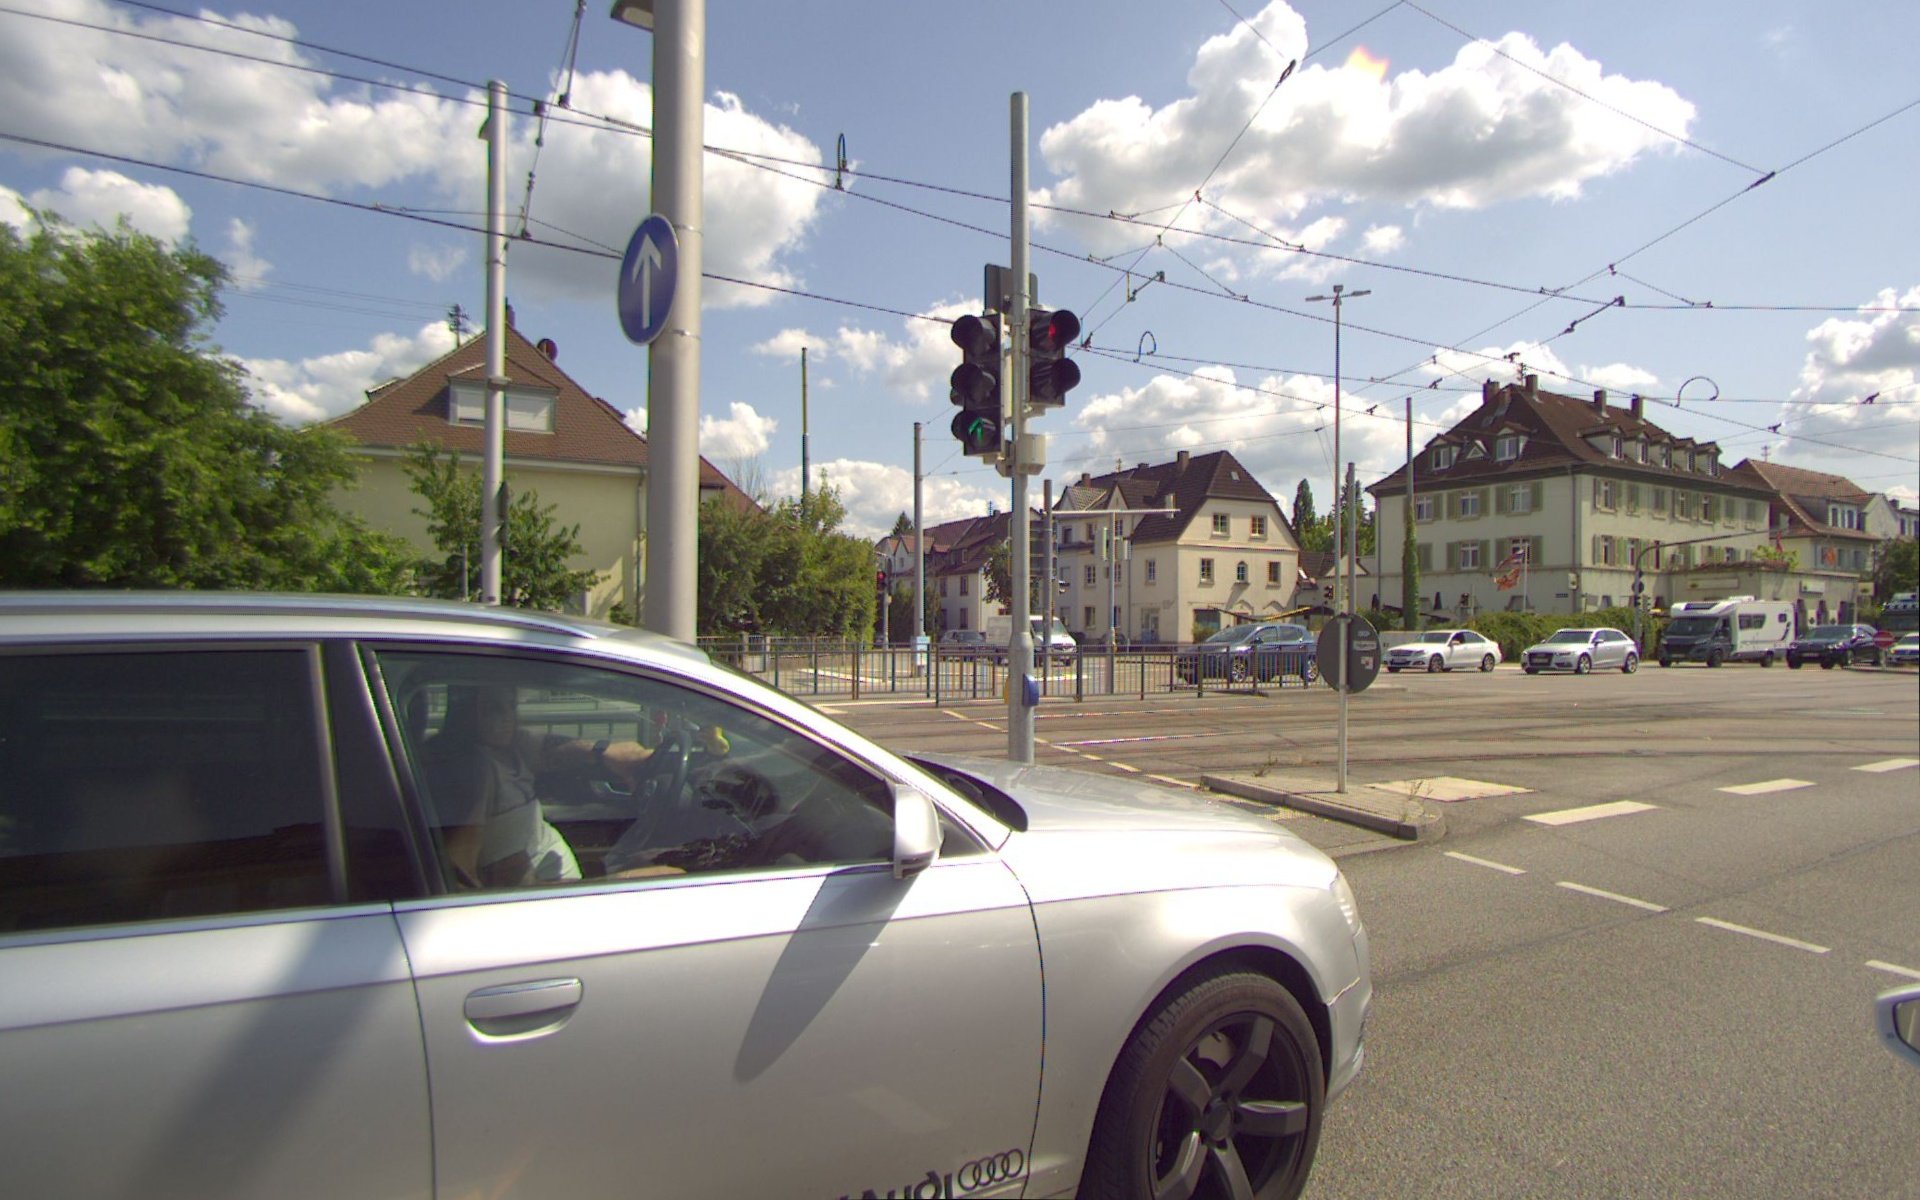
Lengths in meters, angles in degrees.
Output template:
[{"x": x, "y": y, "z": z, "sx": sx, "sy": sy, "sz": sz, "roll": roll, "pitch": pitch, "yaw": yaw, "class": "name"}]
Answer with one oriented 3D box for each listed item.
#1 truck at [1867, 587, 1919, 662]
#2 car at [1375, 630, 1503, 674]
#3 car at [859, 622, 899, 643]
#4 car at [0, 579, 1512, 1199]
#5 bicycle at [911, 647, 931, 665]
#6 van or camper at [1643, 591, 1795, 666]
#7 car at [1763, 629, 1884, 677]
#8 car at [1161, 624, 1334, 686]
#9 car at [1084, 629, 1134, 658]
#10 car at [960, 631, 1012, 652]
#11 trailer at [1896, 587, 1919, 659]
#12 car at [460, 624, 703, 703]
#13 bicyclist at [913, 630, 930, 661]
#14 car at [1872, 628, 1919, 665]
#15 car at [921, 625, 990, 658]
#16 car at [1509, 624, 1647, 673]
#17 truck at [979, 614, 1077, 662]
[{"x": 51.528, "y": 1.315, "z": 53.699, "sx": 5.595, "sy": 3.871, "sz": 2.590, "roll": 0, "pitch": -3, "yaw": -28, "class": "truck"}, {"x": 16.160, "y": 1.754, "z": 33.863, "sx": 4.291, "sy": 1.369, "sz": 1.678, "roll": 2, "pitch": 0, "yaw": -28, "class": "car"}, {"x": -7.096, "y": 2.836, "z": 87.250, "sx": 1.976, "sy": 1.617, "sz": 3.969, "roll": 2, "pitch": 0, "yaw": -29, "class": "car"}, {"x": -0.968, "y": 0.728, "z": 2.316, "sx": 4.667, "sy": 1.491, "sz": 1.786, "roll": 1, "pitch": 0, "yaw": -30, "class": "car"}, {"x": -1.999, "y": 2.885, "z": 51.433, "sx": 0.595, "sy": 0.846, "sz": 1.074, "roll": 2, "pitch": 0, "yaw": -28, "class": "bicycle"}, {"x": 32.549, "y": 1.227, "z": 42.996, "sx": 7.660, "sy": 2.968, "sz": 2.314, "roll": 1, "pitch": -1, "yaw": -29, "class": "van or camper"}, {"x": 34.126, "y": 2.059, "z": 39.675, "sx": 4.817, "sy": 1.799, "sz": 1.986, "roll": 1, "pitch": -3, "yaw": -28, "class": "car"}, {"x": 7.084, "y": 1.340, "z": 24.675, "sx": 4.129, "sy": 1.369, "sz": 1.676, "roll": 2, "pitch": 0, "yaw": -30, "class": "car"}, {"x": 9.750, "y": 2.836, "z": 65.951, "sx": 1.900, "sy": 1.690, "sz": 4.279, "roll": 2, "pitch": 0, "yaw": -11, "class": "car"}, {"x": 2.208, "y": 3.454, "z": 84.029, "sx": 3.945, "sy": 1.617, "sz": 1.829, "roll": 2, "pitch": 0, "yaw": -24, "class": "car"}, {"x": 57.758, "y": 1.274, "z": 57.111, "sx": 12.676, "sy": 3.871, "sz": 2.589, "roll": 1, "pitch": -3, "yaw": -29, "class": "trailer"}, {"x": -7.510, "y": 1.231, "z": 20.046, "sx": 4.296, "sy": 1.369, "sz": 1.676, "roll": 2, "pitch": 0, "yaw": -31, "class": "car"}, {"x": -1.990, "y": 2.315, "z": 51.452, "sx": 0.595, "sy": 1.529, "sz": 0.641, "roll": 2, "pitch": 0, "yaw": -28, "class": "bicyclist"}, {"x": 43.504, "y": 2.122, "z": 45.529, "sx": 4.129, "sy": 1.572, "sz": 1.985, "roll": 2, "pitch": -5, "yaw": -30, "class": "car"}, {"x": -0.277, "y": 2.184, "z": 53.402, "sx": 1.975, "sy": 1.573, "sz": 4.148, "roll": 3, "pitch": -1, "yaw": -27, "class": "car"}, {"x": 19.399, "y": 1.521, "z": 31.511, "sx": 4.129, "sy": 1.369, "sz": 1.984, "roll": 2, "pitch": 0, "yaw": -30, "class": "car"}, {"x": 3.080, "y": 1.750, "z": 47.310, "sx": 1.668, "sy": 1.947, "sz": 6.162, "roll": 2, "pitch": 0, "yaw": -27, "class": "truck"}]
